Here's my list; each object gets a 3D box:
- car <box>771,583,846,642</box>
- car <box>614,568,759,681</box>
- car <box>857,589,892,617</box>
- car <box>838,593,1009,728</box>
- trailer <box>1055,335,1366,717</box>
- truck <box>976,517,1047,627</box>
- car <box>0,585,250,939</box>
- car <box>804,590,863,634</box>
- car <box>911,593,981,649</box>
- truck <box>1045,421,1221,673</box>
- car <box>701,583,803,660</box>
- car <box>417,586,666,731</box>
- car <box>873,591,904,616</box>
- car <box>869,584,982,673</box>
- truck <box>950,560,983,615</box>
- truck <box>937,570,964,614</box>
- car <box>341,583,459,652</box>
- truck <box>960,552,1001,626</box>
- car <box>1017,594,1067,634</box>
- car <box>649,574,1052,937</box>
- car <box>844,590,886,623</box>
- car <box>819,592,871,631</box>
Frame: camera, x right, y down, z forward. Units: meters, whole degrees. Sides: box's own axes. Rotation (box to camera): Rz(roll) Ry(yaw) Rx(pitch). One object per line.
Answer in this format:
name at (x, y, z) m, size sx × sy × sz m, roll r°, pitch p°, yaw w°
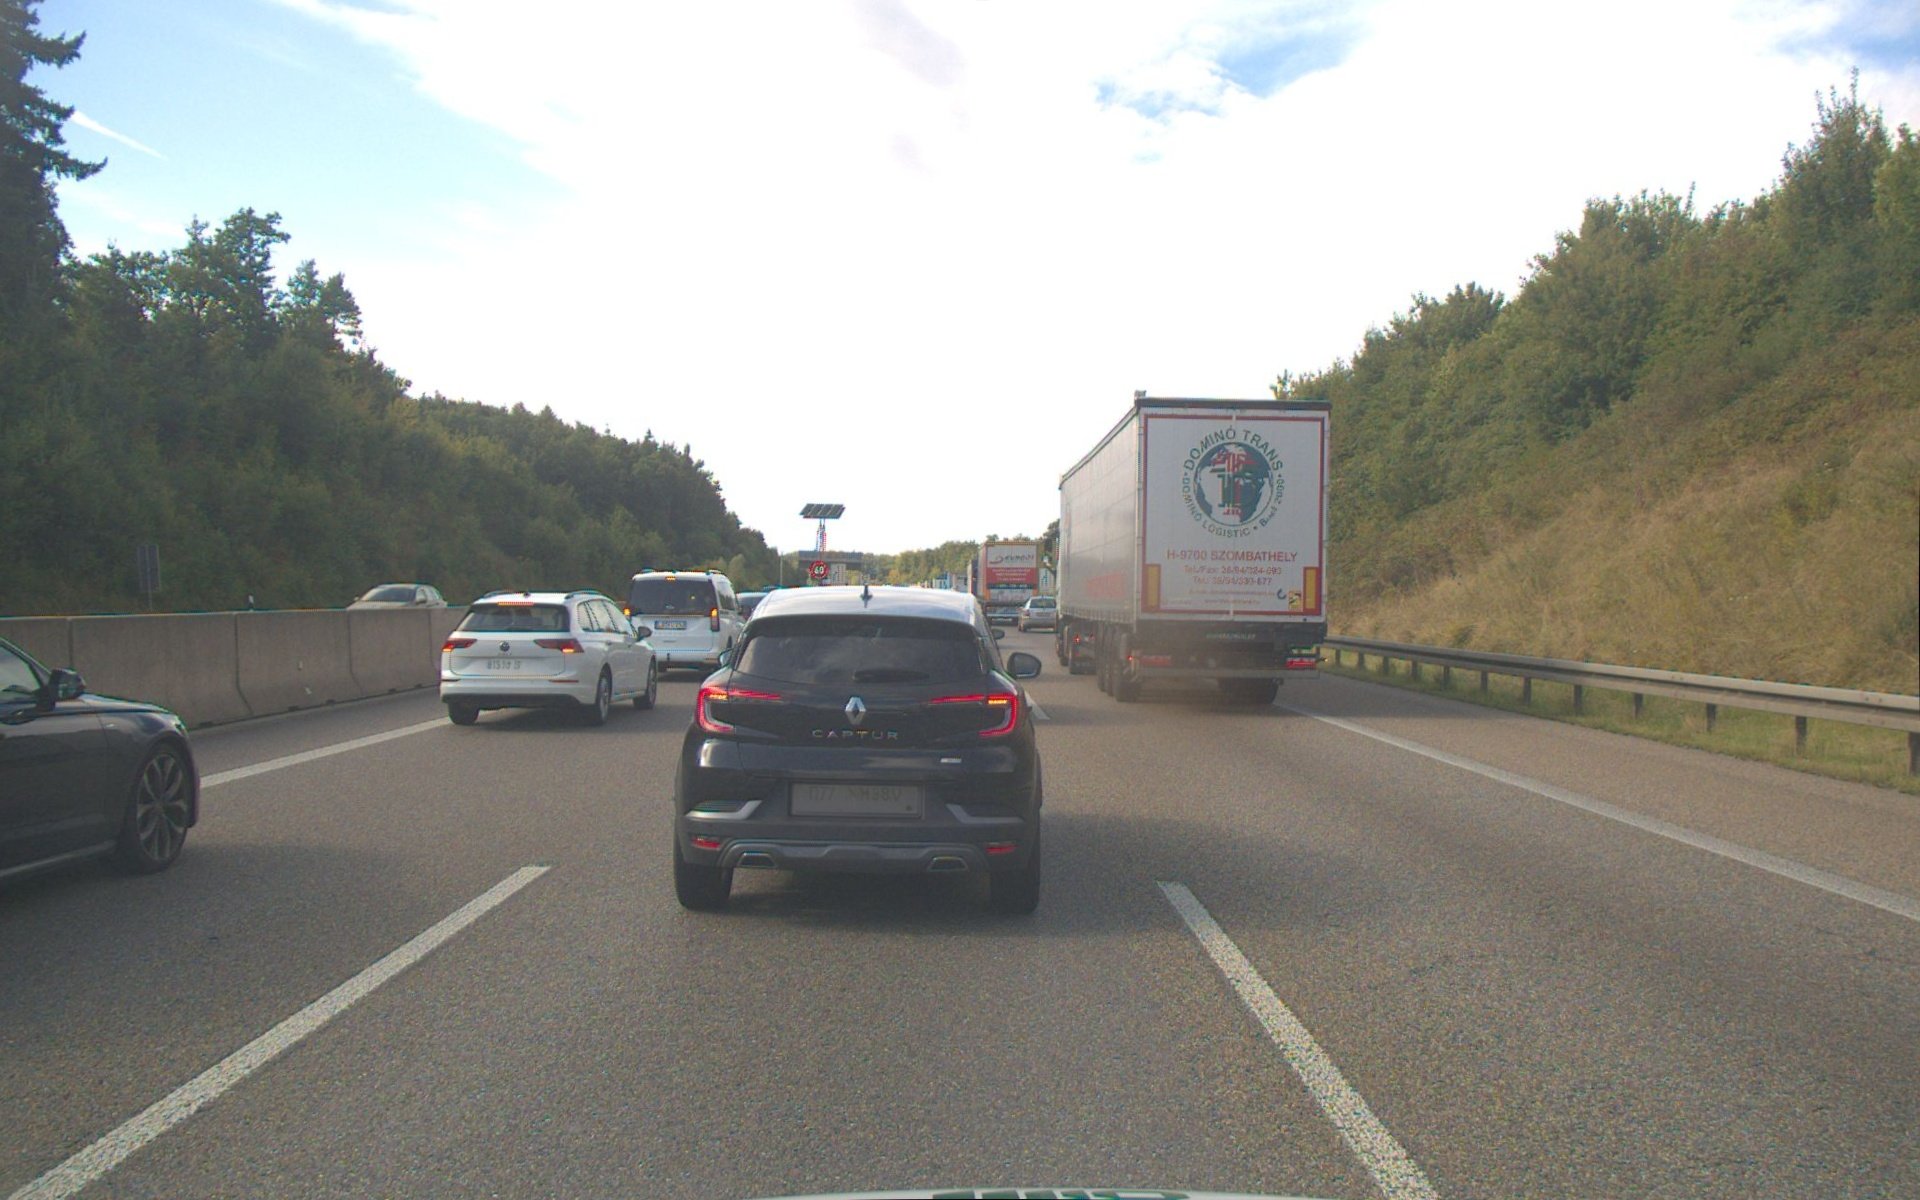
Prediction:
car at (-4.750, 0.397, 52.339) m, size 1.953 × 1.752 × 4.000 m, roll 1°, pitch 0°, yaw 0°
car at (-4.717, 0.411, 29.153) m, size 1.873 × 1.821 × 4.416 m, roll 1°, pitch 0°, yaw -1°
car at (-5.260, 0.172, 102.210) m, size 1.953 × 1.641 × 4.000 m, roll 1°, pitch 0°, yaw 0°
car at (-0.418, 0.714, 21.207) m, size 1.953 × 1.540 × 4.000 m, roll 1°, pitch 0°, yaw 0°
trailer at (3.517, -0.958, 27.365) m, size 2.941 × 4.742 × 13.288 m, roll 1°, pitch 0°, yaw -1°
truck at (2.507, -1.299, 84.926) m, size 3.296 × 5.132 × 12.737 m, roll 1°, pitch 0°, yaw 0°
car at (-4.946, 0.674, 7.005) m, size 1.805 × 1.481 × 4.747 m, roll 1°, pitch 0°, yaw 0°
car at (-4.892, 0.454, 64.539) m, size 1.953 × 1.641 × 4.000 m, roll 1°, pitch 0°, yaw 0°
car at (-0.387, 0.595, 48.256) m, size 1.953 × 1.540 × 4.000 m, roll 1°, pitch 0°, yaw 0°
truck at (3.439, -1.017, 34.438) m, size 2.936 × 4.749 × 5.938 m, roll 1°, pitch 0°, yaw -1°
car at (-4.784, 0.480, 38.553) m, size 1.817 × 1.669 × 3.925 m, roll 1°, pitch 0°, yaw 1°
car at (-4.752, 0.618, 19.437) m, size 1.767 × 1.486 × 4.308 m, roll 1°, pitch 0°, yaw 1°
car at (-4.952, 0.237, 114.741) m, size 1.953 × 1.641 × 4.000 m, roll 1°, pitch 0°, yaw 0°
car at (-0.604, 0.507, 31.082) m, size 1.953 × 1.540 × 4.000 m, roll 1°, pitch 0°, yaw 0°
truck at (0.750, -1.275, 176.155) m, size 3.101 × 5.601 × 12.740 m, roll 1°, pitch 0°, yaw 2°
truck at (-1.170, -0.958, 208.816) m, size 3.101 × 5.250 × 12.737 m, roll 1°, pitch 0°, yaw 0°
car at (-15.914, 0.468, 47.286) m, size 1.814 × 1.841 × 4.624 m, roll 1°, pitch 0°, yaw -1°
truck at (1.620, -0.826, 133.923) m, size 3.101 × 5.601 × 12.737 m, roll 1°, pitch 0°, yaw 0°
car at (3.336, 0.557, 67.755) m, size 1.768 × 1.559 × 3.924 m, roll 1°, pitch 0°, yaw -1°
car at (-0.416, 0.682, 9.292) m, size 1.767 × 1.579 × 4.001 m, roll 0°, pitch 0°, yaw 2°
car at (-4.955, 0.316, 86.550) m, size 1.953 × 1.641 × 4.000 m, roll 1°, pitch 0°, yaw 0°
car at (-4.970, 0.489, 72.050) m, size 1.953 × 1.641 × 4.000 m, roll 1°, pitch 0°, yaw 0°
